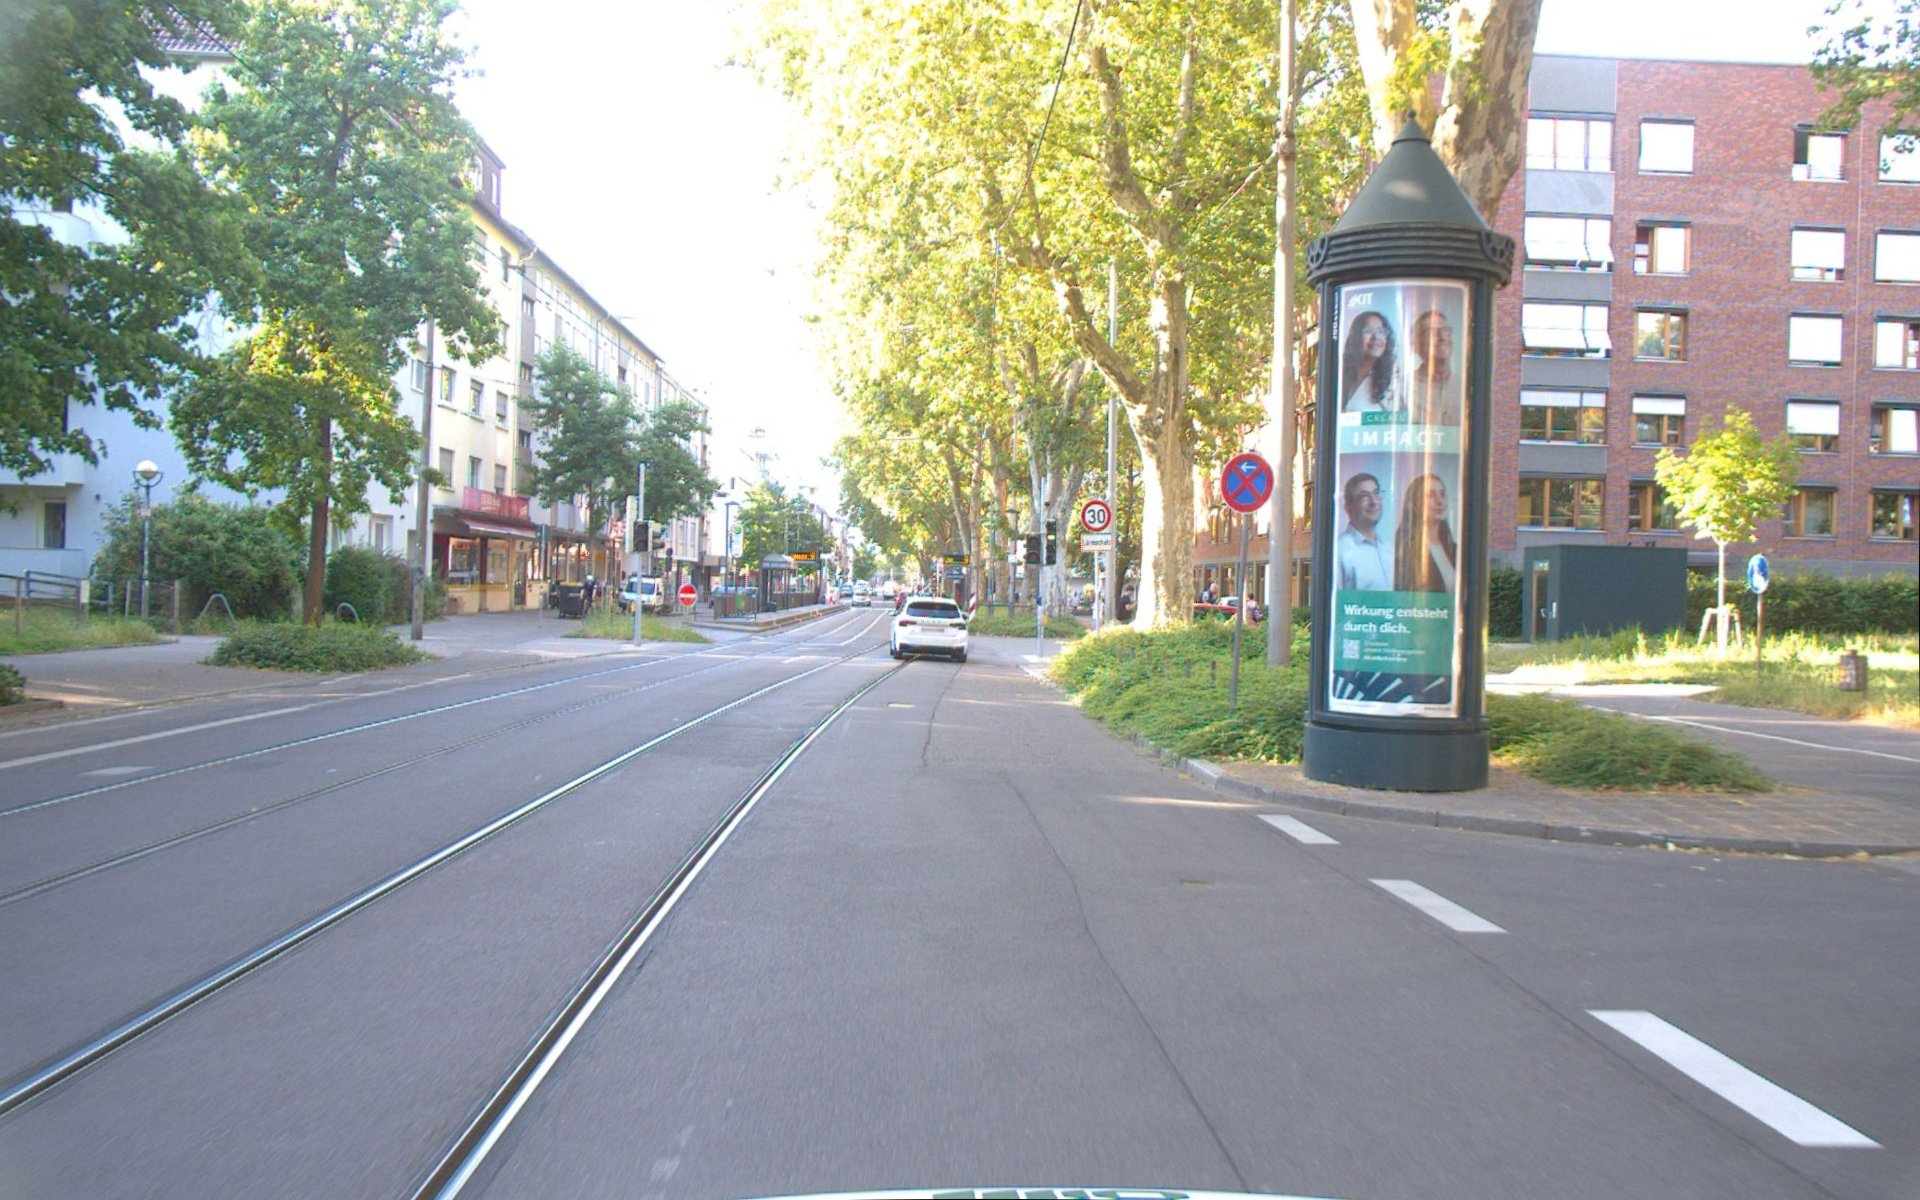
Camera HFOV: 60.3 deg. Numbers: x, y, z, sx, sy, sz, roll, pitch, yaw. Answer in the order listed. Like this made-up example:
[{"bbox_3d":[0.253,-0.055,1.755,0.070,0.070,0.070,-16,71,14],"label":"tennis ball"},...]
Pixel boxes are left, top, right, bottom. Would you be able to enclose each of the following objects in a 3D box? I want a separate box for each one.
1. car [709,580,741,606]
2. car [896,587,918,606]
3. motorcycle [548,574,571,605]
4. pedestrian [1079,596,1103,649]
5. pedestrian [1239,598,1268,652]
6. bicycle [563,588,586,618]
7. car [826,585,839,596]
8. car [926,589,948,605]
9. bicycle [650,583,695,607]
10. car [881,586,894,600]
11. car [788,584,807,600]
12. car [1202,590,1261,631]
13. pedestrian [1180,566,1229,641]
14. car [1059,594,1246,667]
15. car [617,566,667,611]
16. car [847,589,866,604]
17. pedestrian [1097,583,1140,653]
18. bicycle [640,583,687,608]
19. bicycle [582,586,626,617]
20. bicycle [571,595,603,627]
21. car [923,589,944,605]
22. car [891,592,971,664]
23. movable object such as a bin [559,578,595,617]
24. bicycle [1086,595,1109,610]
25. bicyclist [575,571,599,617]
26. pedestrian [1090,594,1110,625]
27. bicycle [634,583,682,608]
[{"bbox_3d":[-15.540,-0.462,109.386,1.561,1.575,3.998,4,0,-2],"label":"car"},{"bbox_3d":[-4.319,-0.301,135.274,1.752,1.539,3.998,1,0,-2],"label":"car"},{"bbox_3d":[-18.148,-0.476,74.955,0.587,1.334,2.221,1,0,-2],"label":"motorcycle"},{"bbox_3d":[4.237,0.725,53.488,0.639,1.698,0.737,1,0,-3],"label":"pedestrian"},{"bbox_3d":[9.459,0.799,53.364,0.721,1.698,0.834,1,0,-3],"label":"pedestrian"},{"bbox_3d":[-14.982,0.117,64.309,0.489,1.126,1.798,5,0,-5],"label":"bicycle"},{"bbox_3d":[-19.313,-1.426,249.824,1.752,1.539,3.998,1,0,-2],"label":"car"},{"bbox_3d":[-2.220,-0.293,157.870,1.953,1.478,3.998,1,0,-2],"label":"car"},{"bbox_3d":[-15.216,-0.261,87.472,2.208,1.092,0.636,5,0,-1],"label":"bicycle"},{"bbox_3d":[-10.396,-1.063,236.354,1.828,1.925,3.998,1,0,-2],"label":"car"},{"bbox_3d":[-17.154,-0.824,174.903,1.644,1.575,3.998,4,0,-2],"label":"car"},{"bbox_3d":[10.704,0.386,65.461,1.568,1.521,3.415,1,0,-3],"label":"car"},{"bbox_3d":[6.396,0.080,43.260,0.964,1.896,1.014,-2,1,-7],"label":"pedestrian"},{"bbox_3d":[4.069,0.638,35.395,3.805,1.448,1.648,1,0,1],"label":"car"},{"bbox_3d":[-14.620,-0.538,76.212,1.654,1.974,3.998,1,0,-2],"label":"car"},{"bbox_3d":[-9.975,-0.339,159.804,1.660,1.444,3.998,1,0,-2],"label":"car"},{"bbox_3d":[4.278,0.472,44.663,0.975,1.842,0.863,1,0,-8],"label":"pedestrian"},{"bbox_3d":[-15.022,-0.217,83.781,2.208,1.092,0.636,5,0,-1],"label":"bicycle"},{"bbox_3d":[-13.994,0.045,65.020,1.503,1.093,0.885,4,0,-3],"label":"bicycle"},{"bbox_3d":[-12.122,0.339,53.767,0.628,1.004,2.100,1,0,-3],"label":"bicycle"},{"bbox_3d":[-2.580,-0.328,162.944,1.953,1.478,3.998,1,0,-2],"label":"car"},{"bbox_3d":[-0.723,0.623,38.853,1.752,1.539,3.998,1,0,-2],"label":"car"},{"bbox_3d":[-14.556,-0.089,62.924,1.147,1.371,0.782,5,0,-6],"label":"movable object such as a bin"},{"bbox_3d":[9.605,0.182,115.342,1.533,1.055,0.479,1,0,19],"label":"bicycle"},{"bbox_3d":[-12.126,-0.196,53.774,0.628,1.480,0.836,1,0,-3],"label":"bicyclist"},{"bbox_3d":[7.605,0.492,90.004,0.953,1.652,0.887,1,0,-2],"label":"pedestrian"},{"bbox_3d":[-15.008,-0.221,82.133,2.208,1.092,0.636,5,0,-1],"label":"bicycle"}]
